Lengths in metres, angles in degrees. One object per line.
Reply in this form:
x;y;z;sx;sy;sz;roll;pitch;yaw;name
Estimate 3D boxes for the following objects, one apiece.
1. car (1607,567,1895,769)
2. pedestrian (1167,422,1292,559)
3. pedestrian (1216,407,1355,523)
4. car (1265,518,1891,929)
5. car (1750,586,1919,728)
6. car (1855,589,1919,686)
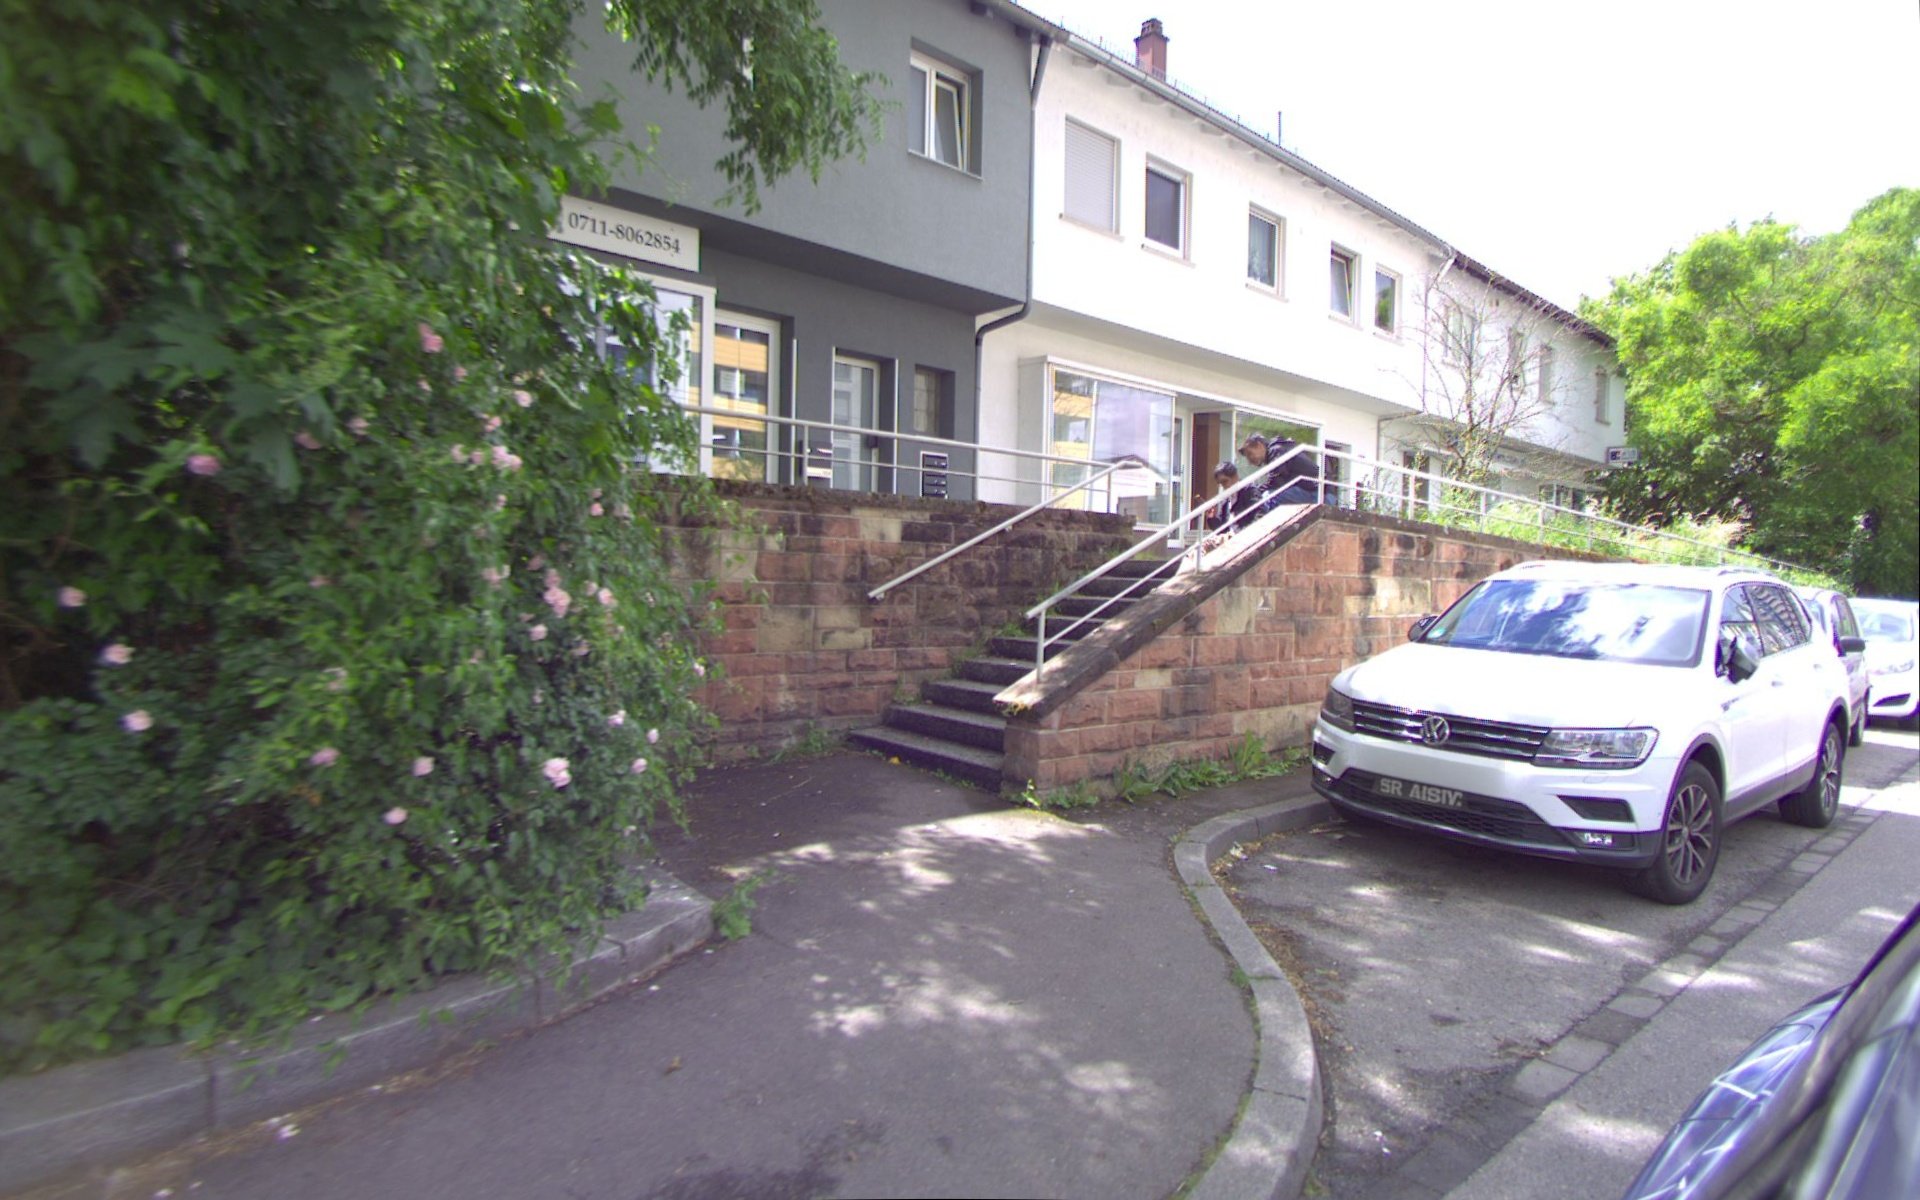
7.630;0.525;9.666;3.415;1.571;1.584;1;1;-42;car
2.038;-0.812;7.668;0.605;0.956;0.643;1;3;-41;pedestrian
2.582;-1.041;8.033;0.693;0.800;0.796;1;1;-41;pedestrian
4.047;0.489;6.300;4.492;1.703;1.829;1;2;-38;car
11.401;0.623;12.683;3.754;1.508;1.648;1;1;-41;car
16.228;0.608;16.830;3.613;1.474;1.610;0;3;-43;car
